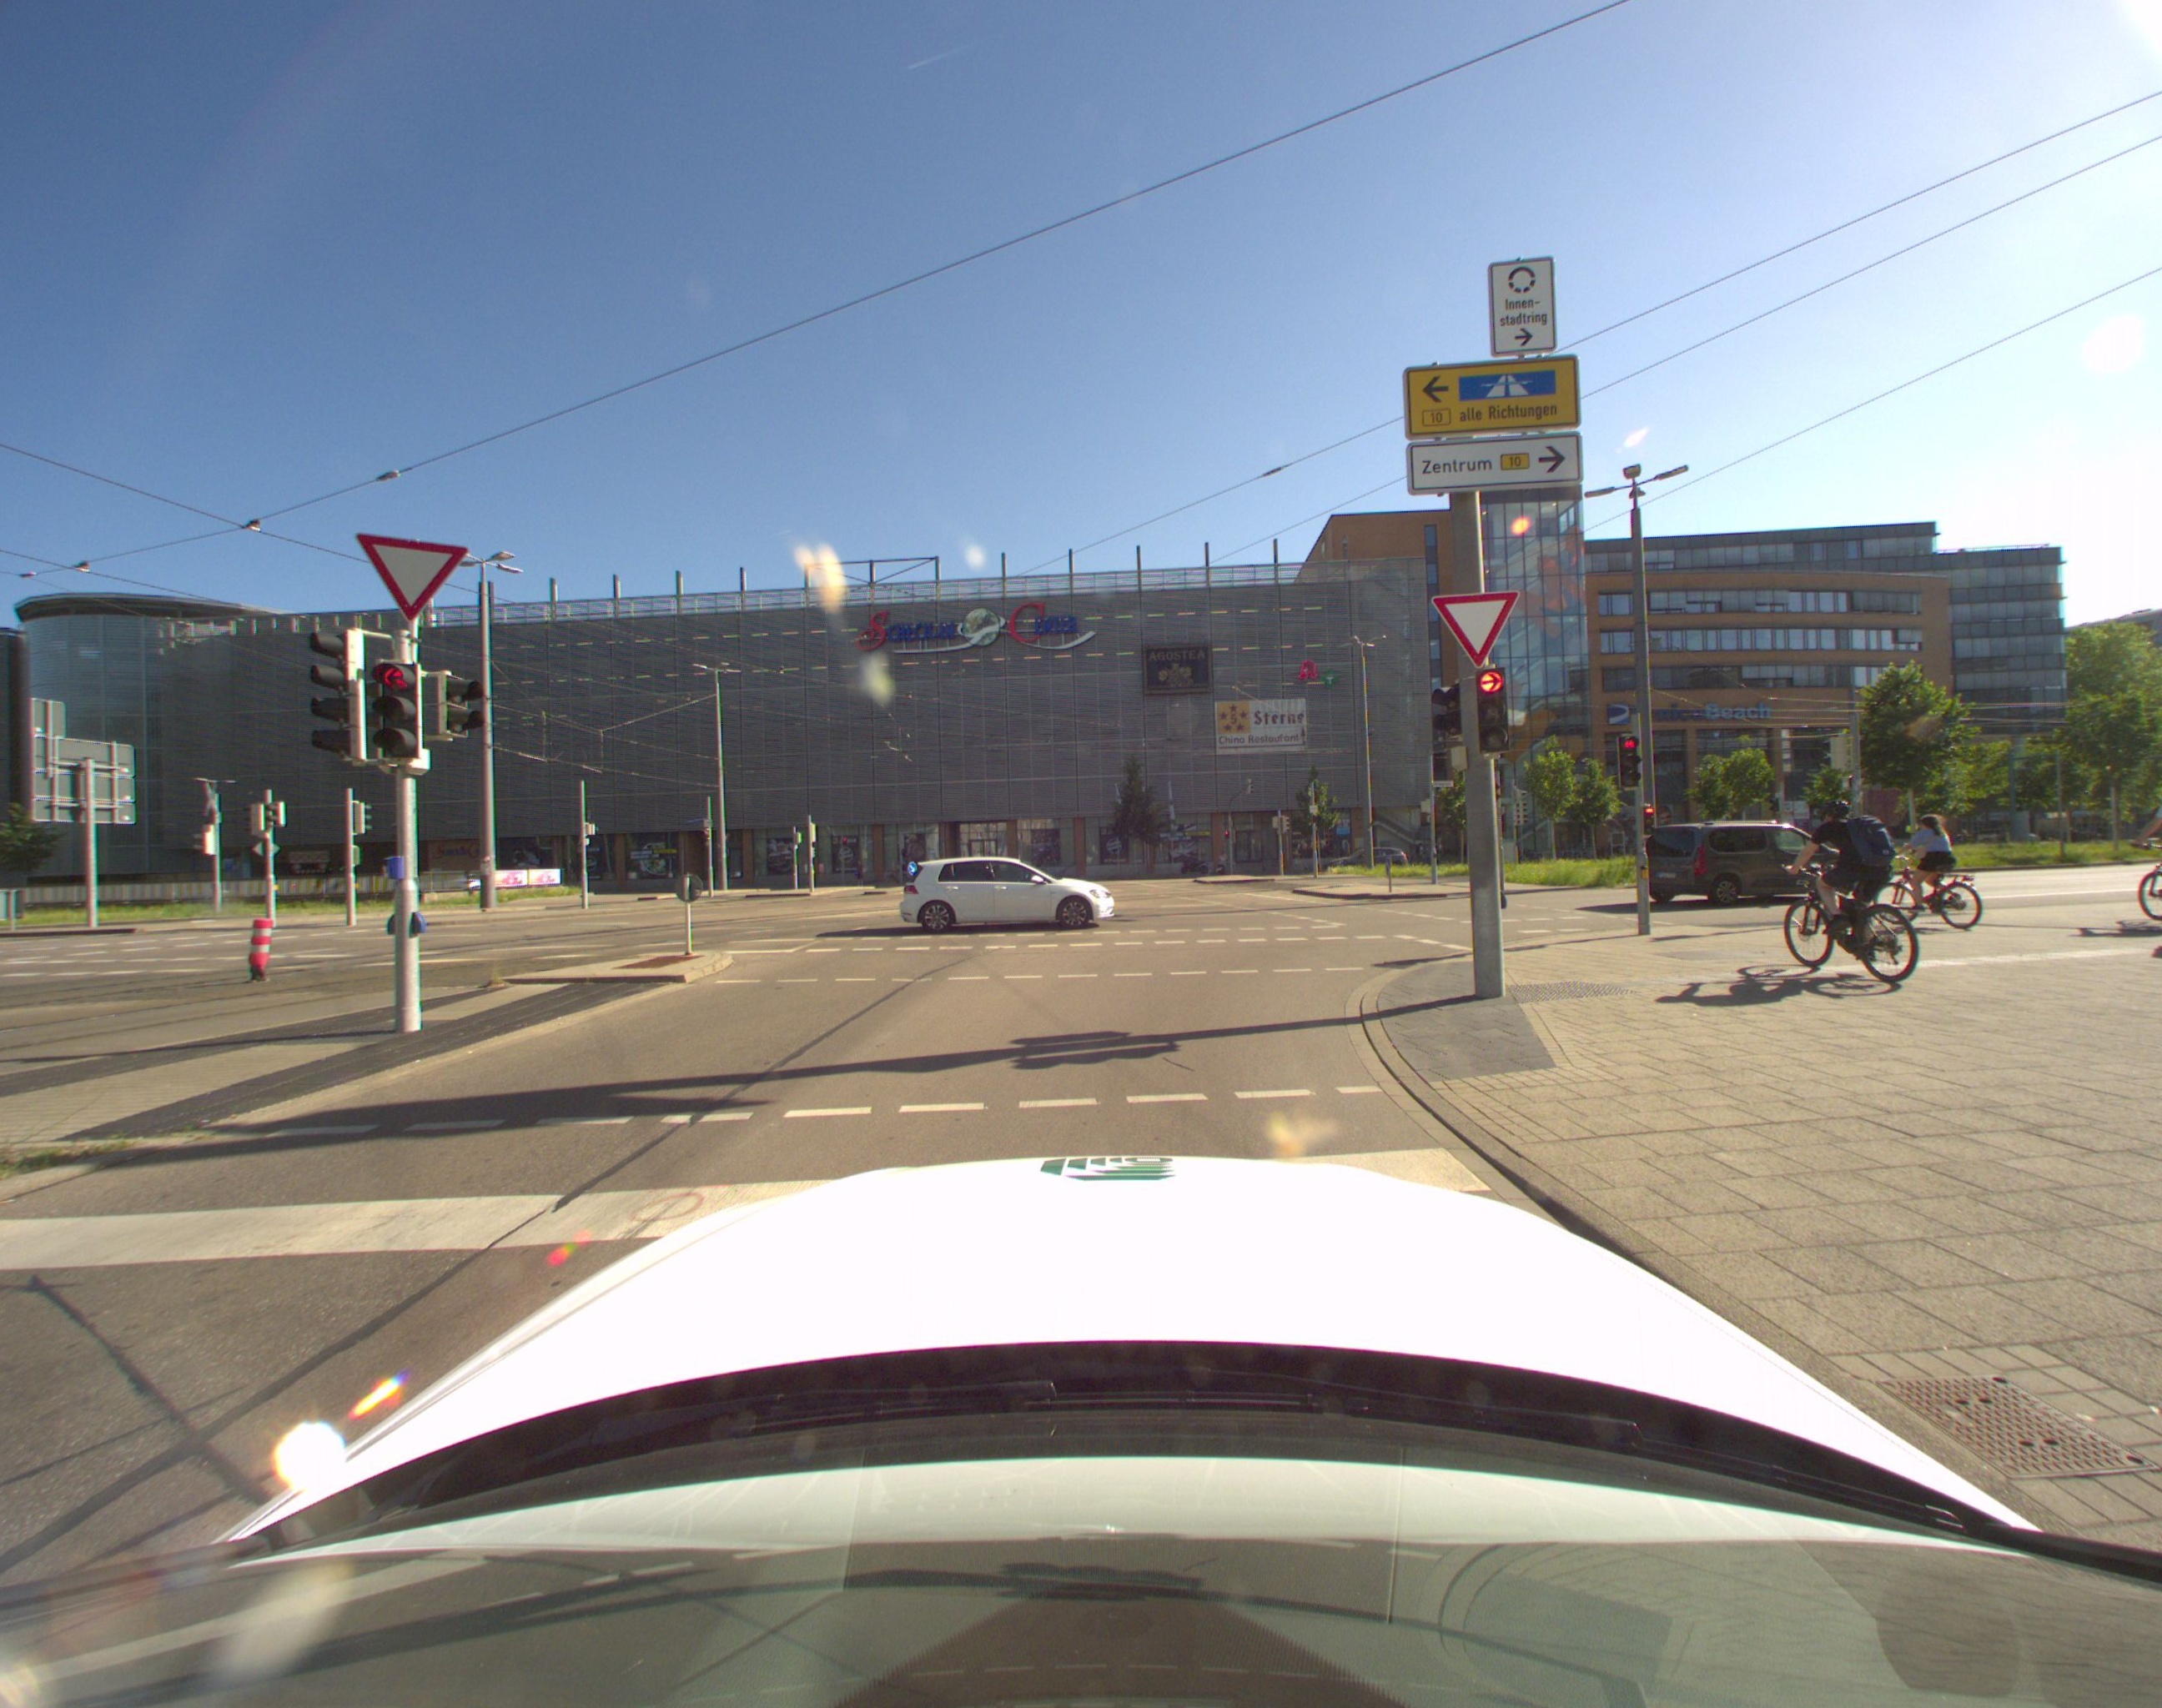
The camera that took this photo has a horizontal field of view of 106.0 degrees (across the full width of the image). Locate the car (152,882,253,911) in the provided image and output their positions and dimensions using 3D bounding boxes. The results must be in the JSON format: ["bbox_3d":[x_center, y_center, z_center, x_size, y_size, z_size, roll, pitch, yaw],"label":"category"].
[{"bbox_3d":[-55.298,2.660,51.306,4.274,1.584,1.841,2,-1,1],"label":"car"}]

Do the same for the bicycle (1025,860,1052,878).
[{"bbox_3d":[-3.076,1.051,58.482,1.850,1.217,0.569,-2,1,1],"label":"bicycle"}]

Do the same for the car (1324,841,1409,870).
[{"bbox_3d":[15.963,0.090,45.721,4.132,1.470,1.841,2,-1,0],"label":"car"}]

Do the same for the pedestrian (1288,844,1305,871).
[{"bbox_3d":[15.547,0.239,58.787,0.945,1.829,0.847,-3,-4,7],"label":"pedestrian"}]

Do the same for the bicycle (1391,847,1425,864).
[{"bbox_3d":[24.344,0.109,60.616,2.247,1.296,0.606,0,-1,0],"label":"bicycle"}]

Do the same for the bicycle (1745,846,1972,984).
[{"bbox_3d":[7.625,0.535,8.153,0.631,1.197,2.162,-2,0,14],"label":"bicycle"}]

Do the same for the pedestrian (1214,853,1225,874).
[{"bbox_3d":[9.406,0.629,55.199,0.650,1.414,0.853,-1,-1,12],"label":"pedestrian"}]

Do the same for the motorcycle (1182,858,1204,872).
[{"bbox_3d":[8.314,0.829,60.593,1.630,1.004,0.448,0,0,8],"label":"motorcycle"}]

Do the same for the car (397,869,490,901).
[{"bbox_3d":[-39.657,1.920,50.702,4.311,1.863,1.841,-1,-1,1],"label":"car"}]

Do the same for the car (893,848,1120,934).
[{"bbox_3d":[-1.474,0.698,16.509,4.276,1.472,1.862,-2,0,-6],"label":"car"}]

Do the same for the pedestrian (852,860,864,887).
[{"bbox_3d":[-15.201,1.310,55.459,0.695,1.797,0.727,-3,0,-14],"label":"pedestrian"}]

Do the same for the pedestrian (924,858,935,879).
[{"bbox_3d":[-11.445,1.102,61.511,0.654,1.601,0.597,-1,-1,20],"label":"pedestrian"}]

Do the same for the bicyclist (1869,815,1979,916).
[{"bbox_3d":[12.533,0.185,12.144,0.662,1.436,0.943,-2,-3,12],"label":"bicyclist"}]

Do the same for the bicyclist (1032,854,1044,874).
[{"bbox_3d":[-3.093,0.717,58.463,0.750,1.386,0.566,-2,1,1],"label":"bicyclist"}]

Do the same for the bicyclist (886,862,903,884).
[{"bbox_3d":[-12.627,1.273,55.235,0.667,1.427,0.855,-1,2,45],"label":"bicyclist"}]

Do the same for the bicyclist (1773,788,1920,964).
[{"bbox_3d":[7.552,0.213,8.088,0.624,1.629,0.975,-2,-1,14],"label":"bicyclist"}]

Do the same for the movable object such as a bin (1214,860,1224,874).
[{"bbox_3d":[9.273,0.880,54.736,0.608,0.904,0.972,-1,-1,12],"label":"movable object such as a bin"}]

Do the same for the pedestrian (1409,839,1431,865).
[{"bbox_3d":[24.698,-0.116,59.316,1.016,1.828,1.028,-3,0,-21],"label":"pedestrian"}]

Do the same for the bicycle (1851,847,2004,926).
[{"bbox_3d":[12.563,0.467,12.172,0.662,1.072,1.826,-2,-1,12],"label":"bicycle"}]

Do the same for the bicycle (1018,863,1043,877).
[{"bbox_3d":[-3.780,1.173,60.787,1.815,0.989,0.556,-2,1,-8],"label":"bicycle"}]

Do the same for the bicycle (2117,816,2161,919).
[{"bbox_3d":[14.743,0.173,11.010,1.758,1.327,0.708,0,-3,-42],"label":"bicycle"}]

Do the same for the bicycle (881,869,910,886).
[{"bbox_3d":[-12.584,1.584,55.307,0.562,1.086,1.874,-1,2,45],"label":"bicycle"}]

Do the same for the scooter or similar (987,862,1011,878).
[{"bbox_3d":[-6.183,1.202,61.229,1.790,1.066,0.611,-2,1,-6],"label":"scooter or similar"}]

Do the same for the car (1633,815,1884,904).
[{"bbox_3d":[15.097,0.107,18.251,4.453,1.791,1.705,-2,0,-7],"label":"car"}]

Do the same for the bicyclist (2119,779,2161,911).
[{"bbox_3d":[14.631,-0.123,10.926,1.100,1.726,0.708,0,-2,-42],"label":"bicyclist"}]
